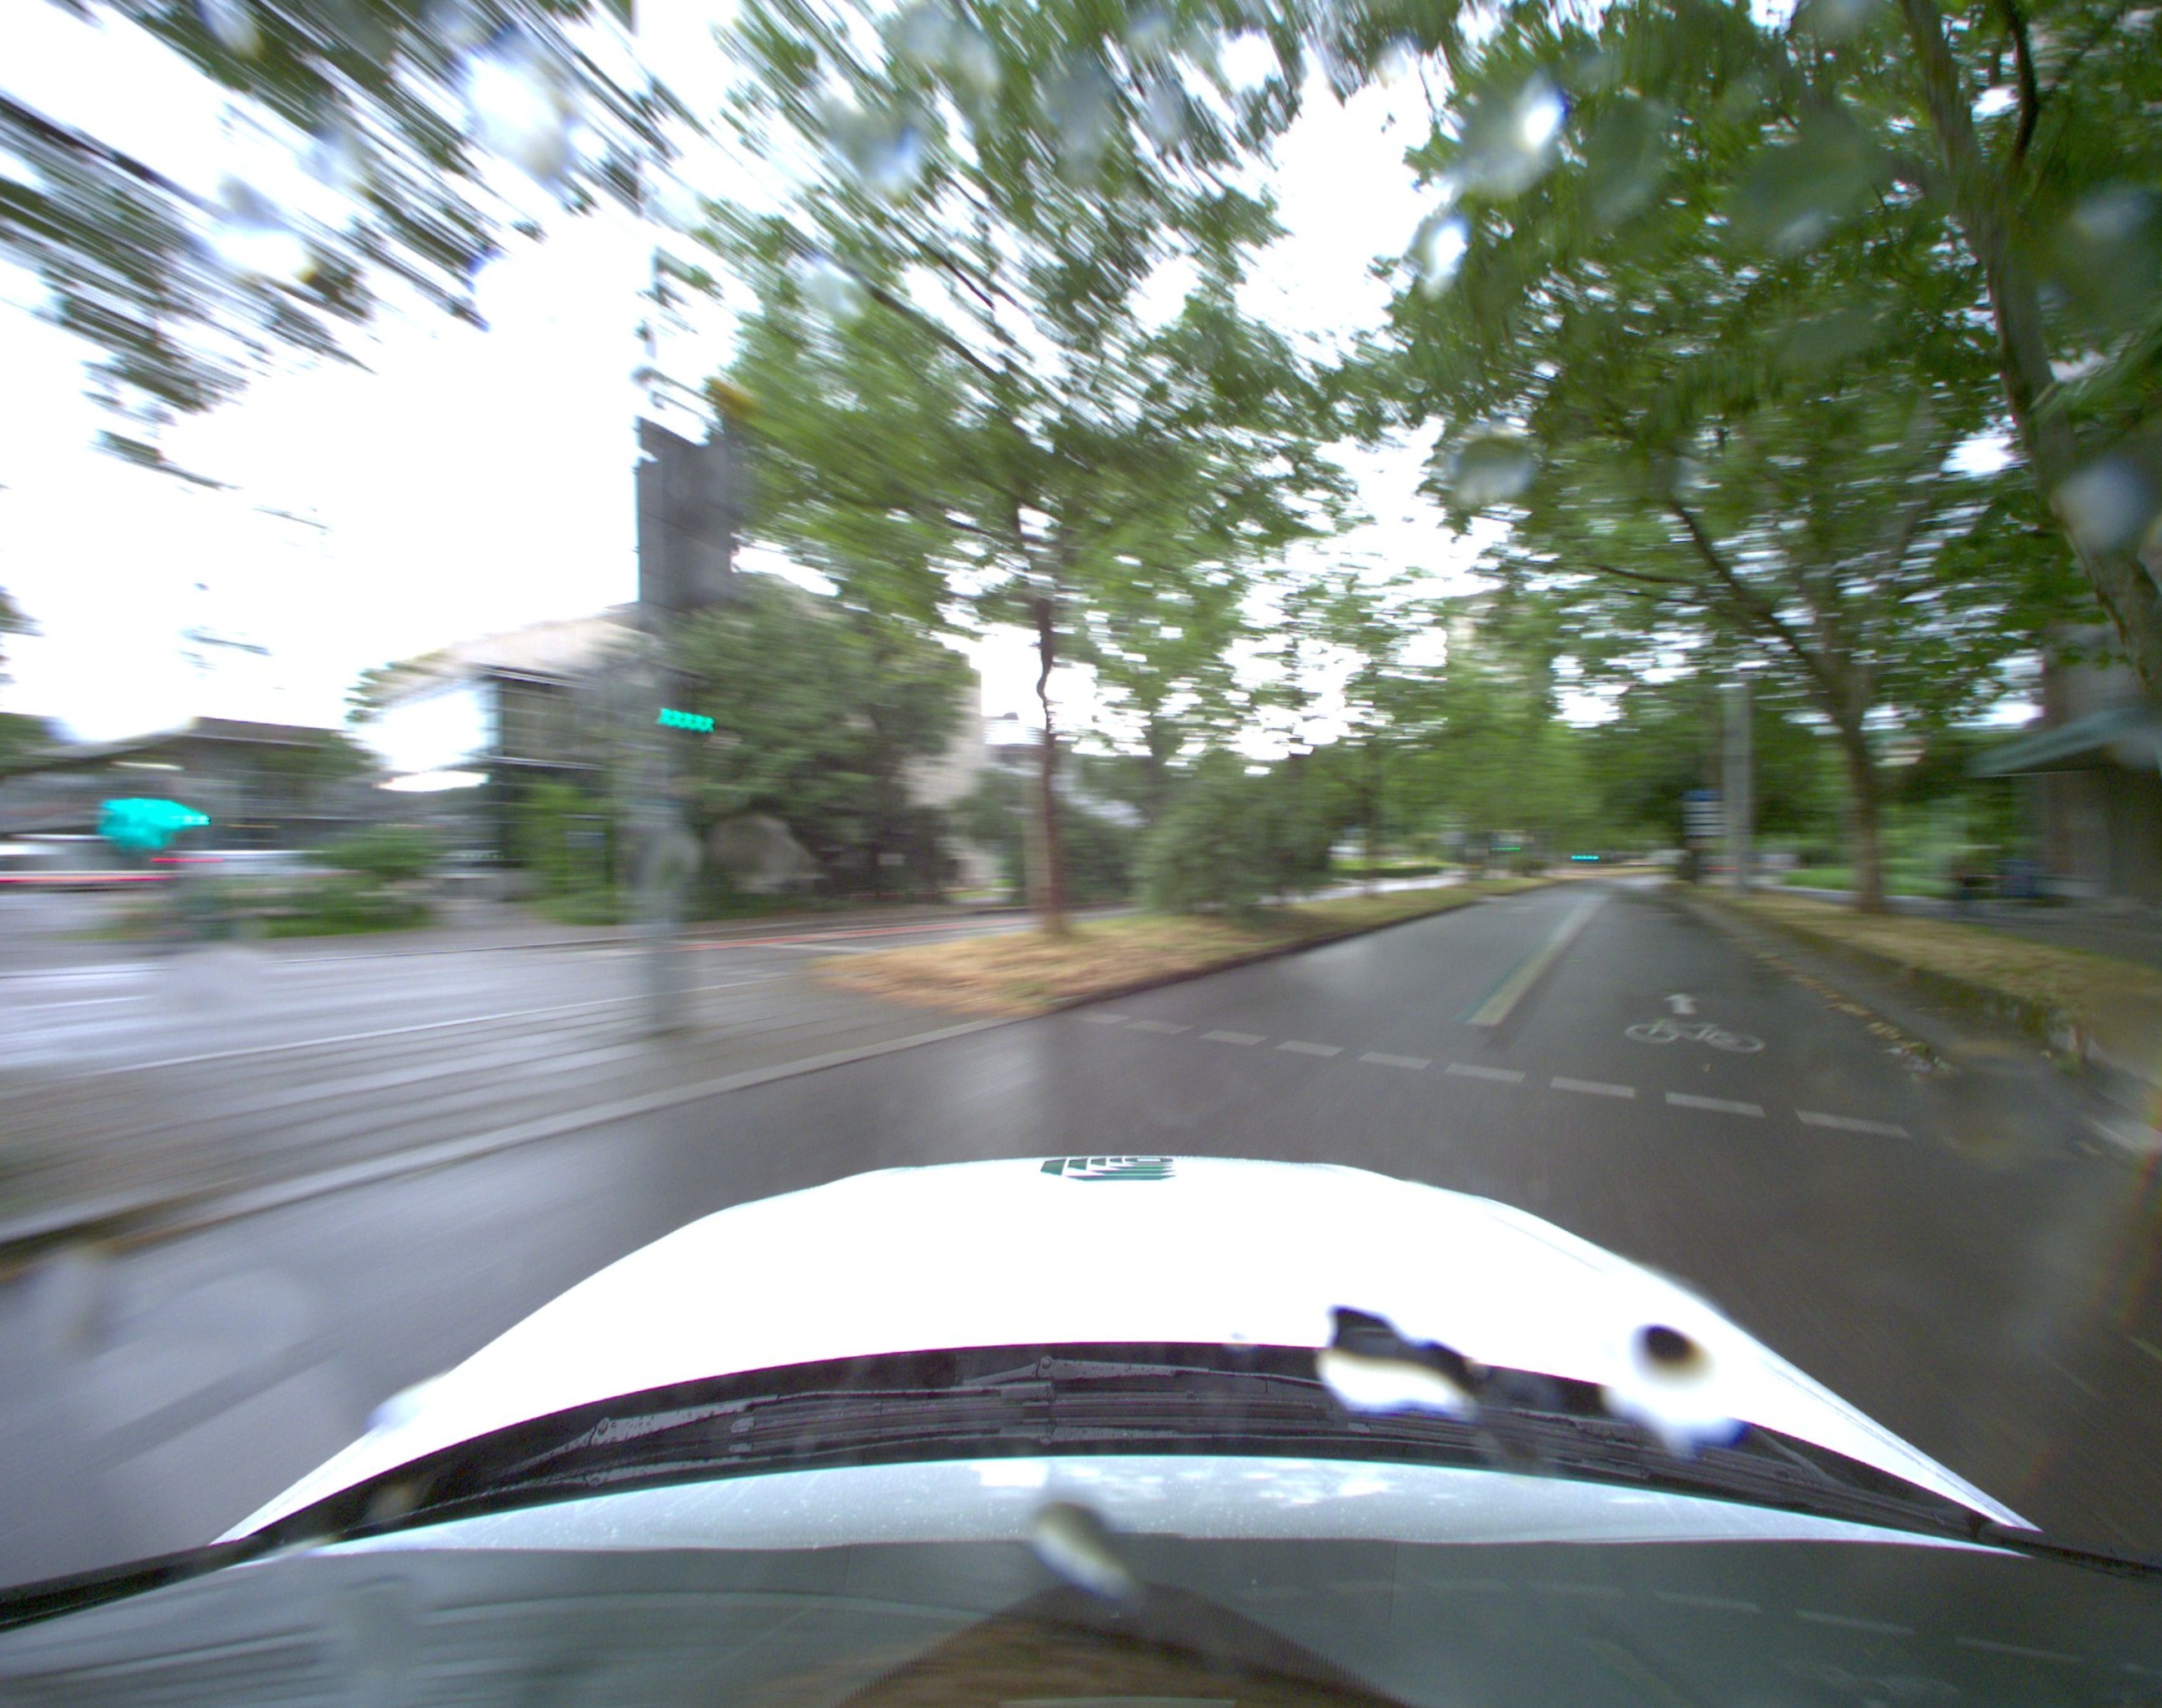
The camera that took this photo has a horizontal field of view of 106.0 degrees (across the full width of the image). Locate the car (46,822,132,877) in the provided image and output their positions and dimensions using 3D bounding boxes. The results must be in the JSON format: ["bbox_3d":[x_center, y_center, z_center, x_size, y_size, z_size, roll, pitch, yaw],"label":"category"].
[{"bbox_3d":[-52.833,-0.283,43.413,6.834,2.695,2.758,1,1,39],"label":"car"}]

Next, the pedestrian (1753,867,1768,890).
[{"bbox_3d":[49.559,1.753,59.392,0.696,1.639,0.940,0,-1,33],"label":"pedestrian"}]

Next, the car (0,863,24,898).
[{"bbox_3d":[-52.510,1.258,38.802,2.038,1.551,4.297,0,1,-44],"label":"car"}]

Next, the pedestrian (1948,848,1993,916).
[{"bbox_3d":[22.066,0.684,20.215,0.515,1.639,0.940,0,-1,33],"label":"pedestrian"}]

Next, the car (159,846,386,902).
[{"bbox_3d":[-27.589,0.607,28.087,1.853,1.731,5.242,1,1,19],"label":"car"}]

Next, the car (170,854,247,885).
[{"bbox_3d":[-48.380,0.832,45.147,4.294,1.551,2.039,1,1,31],"label":"car"}]
